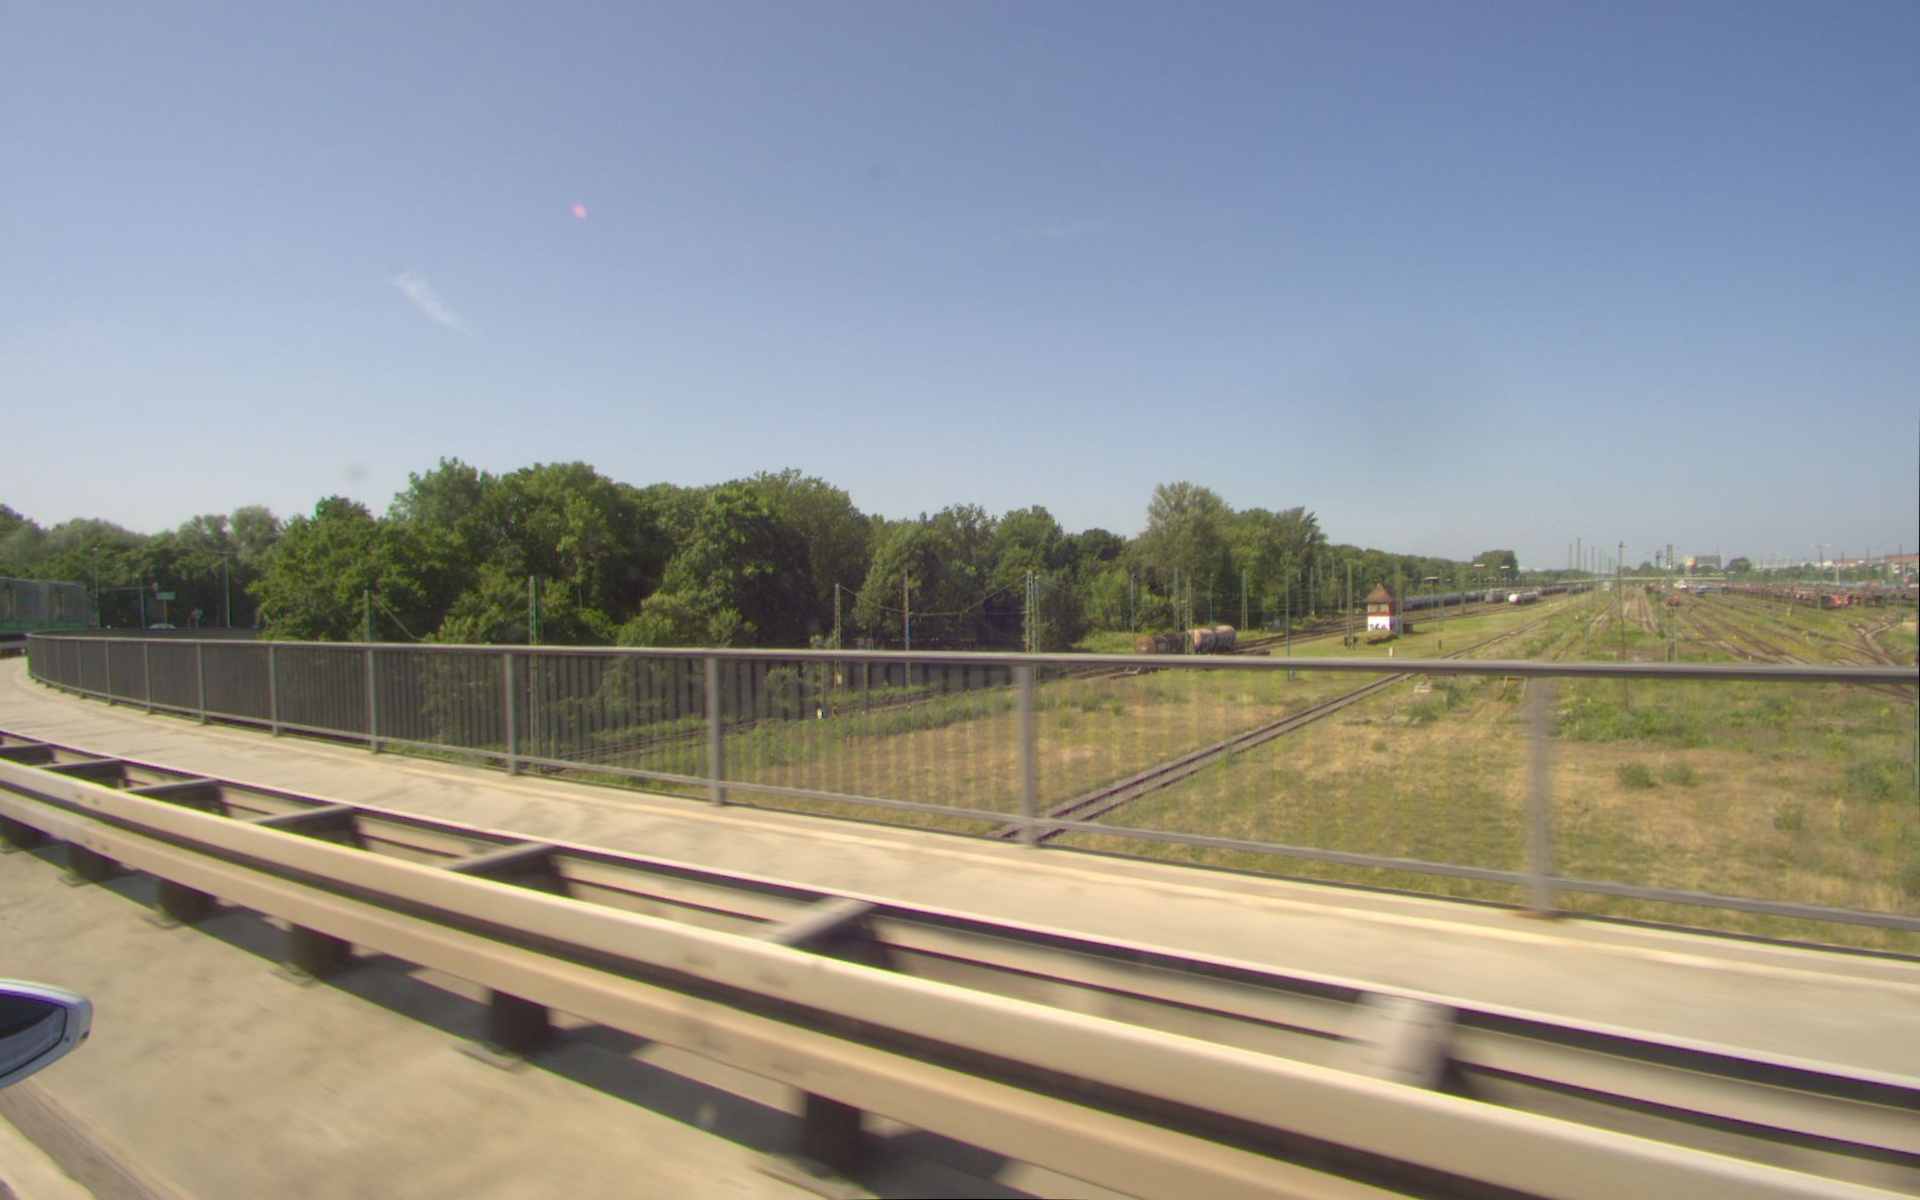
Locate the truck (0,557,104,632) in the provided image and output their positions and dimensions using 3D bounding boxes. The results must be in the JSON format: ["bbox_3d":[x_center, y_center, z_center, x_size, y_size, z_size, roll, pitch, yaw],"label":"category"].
[{"bbox_3d":[-50.920,-0.235,55.751,3.225,3.806,8.329,3,-2,-29],"label":"truck"}]

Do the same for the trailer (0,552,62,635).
[{"bbox_3d":[-47.120,-0.317,48.830,3.189,3.806,7.785,3,-2,-29],"label":"trailer"}]
